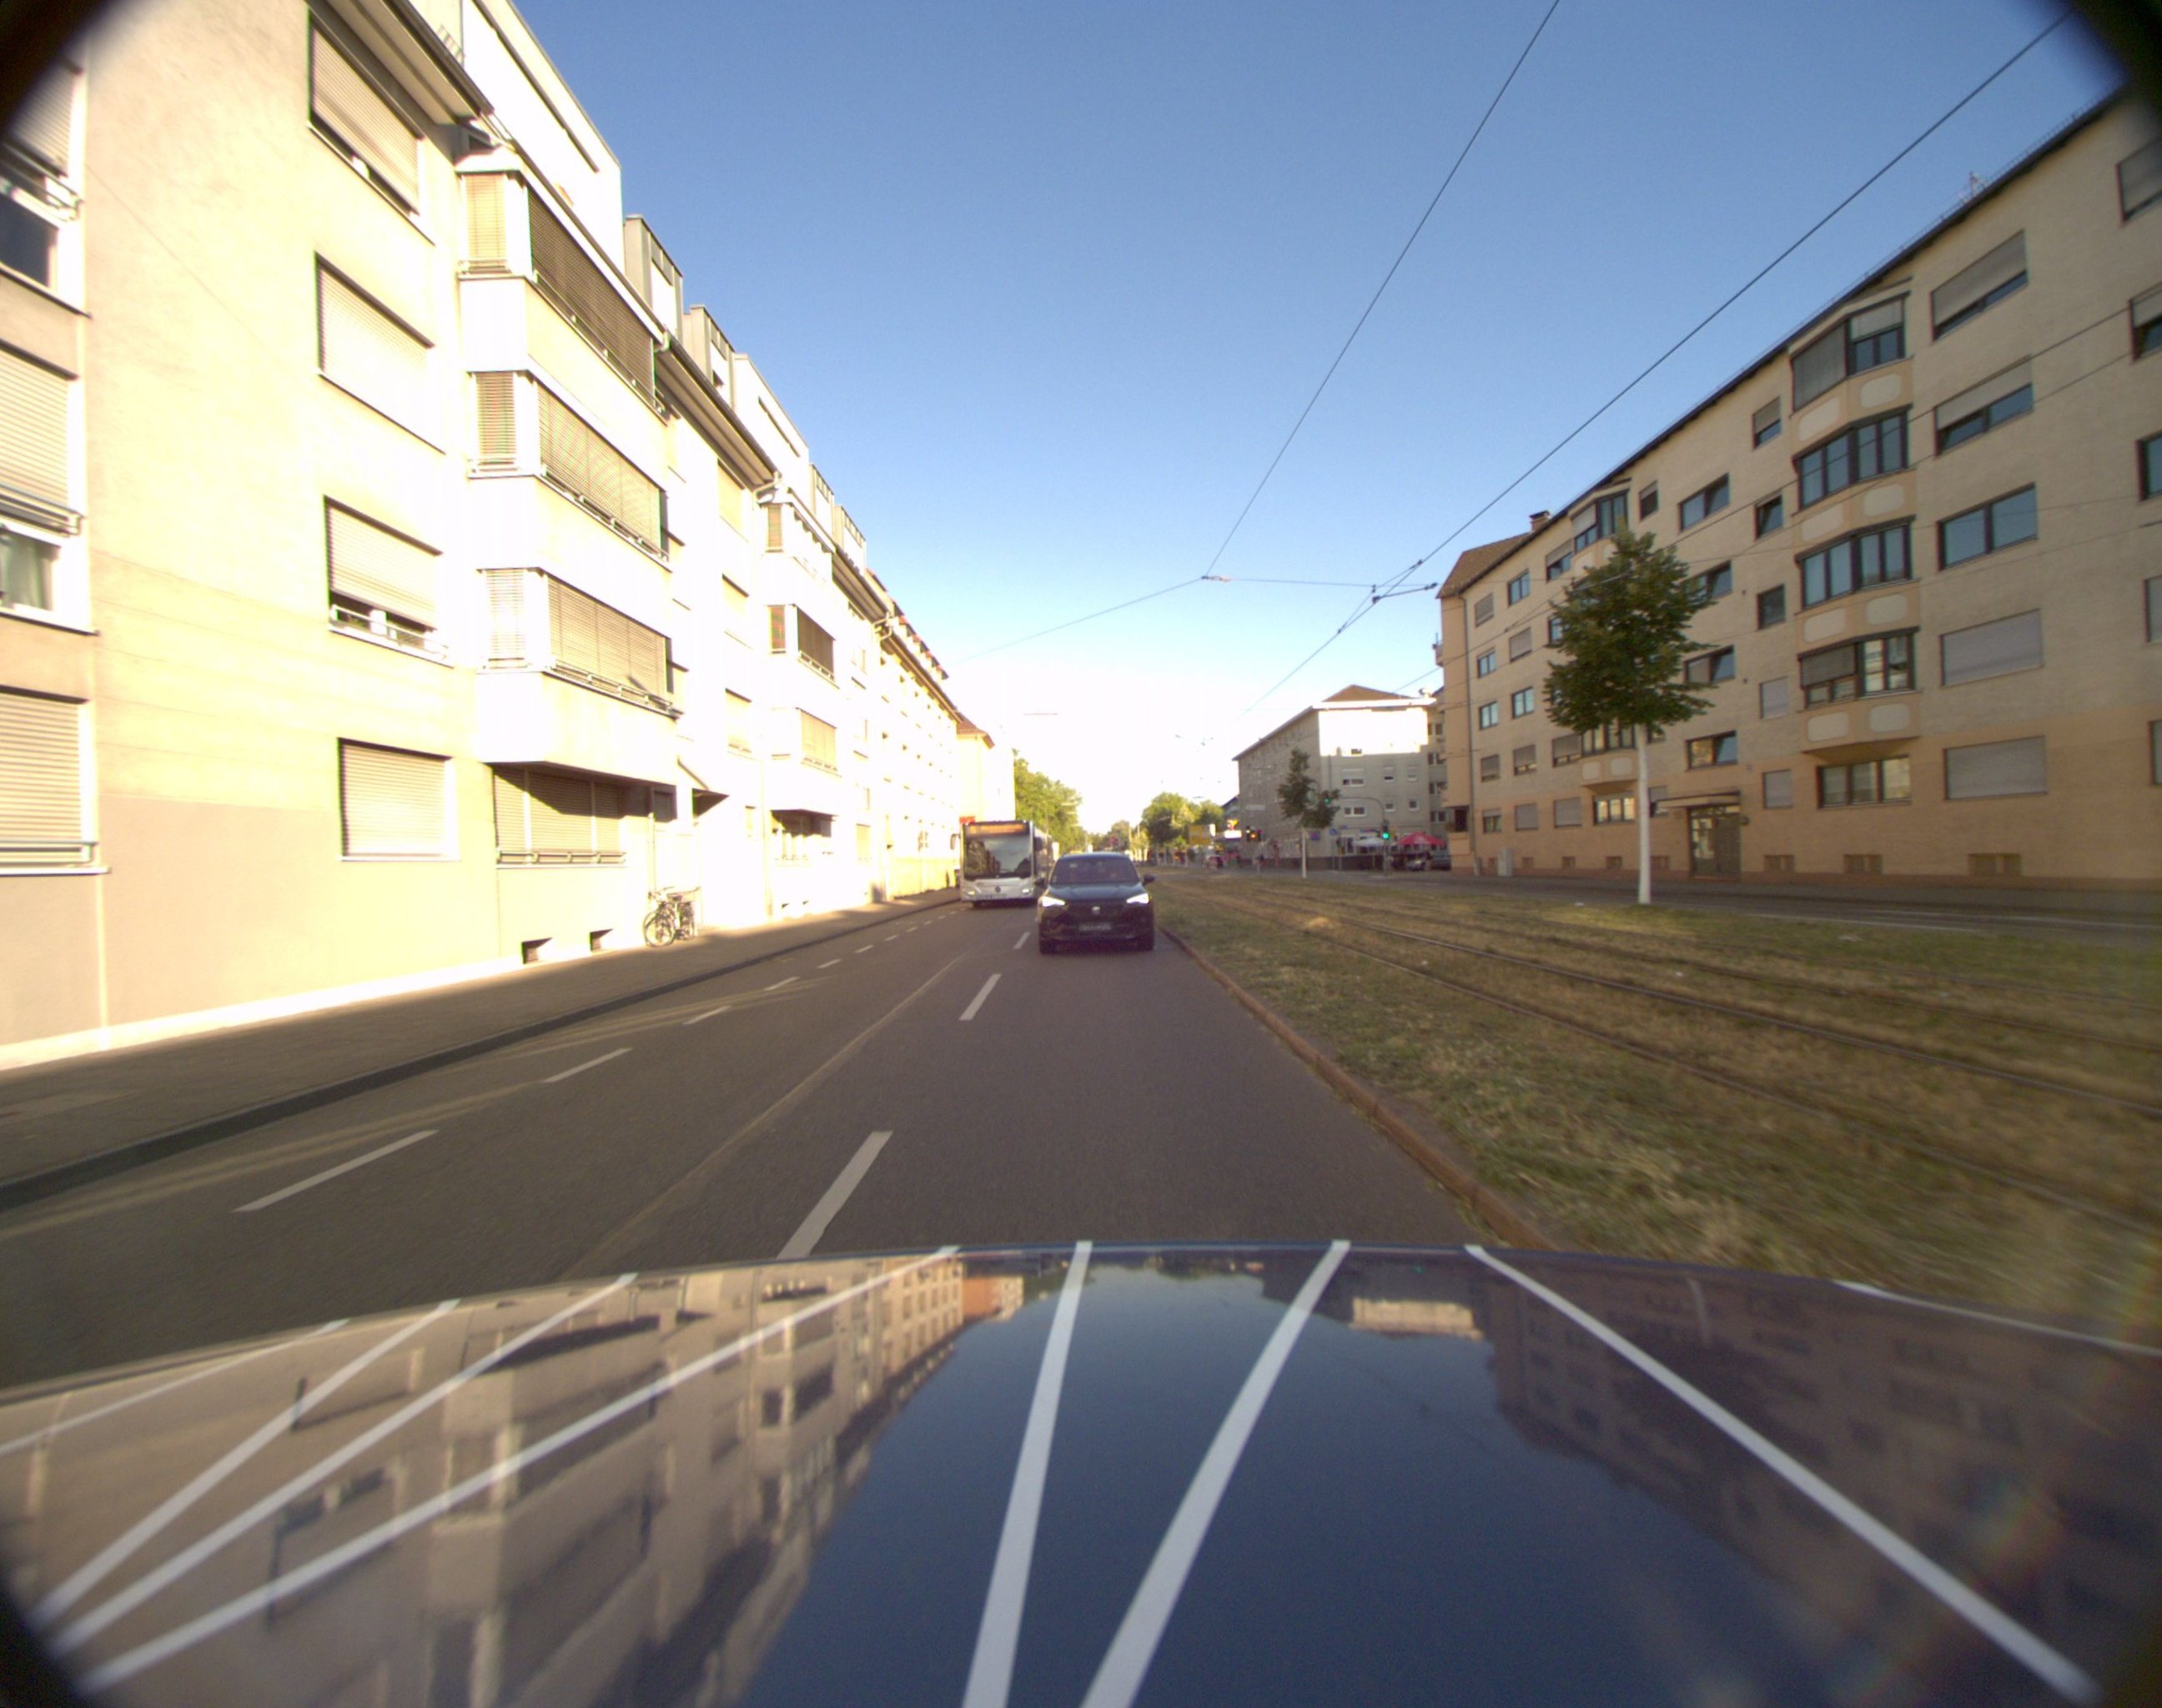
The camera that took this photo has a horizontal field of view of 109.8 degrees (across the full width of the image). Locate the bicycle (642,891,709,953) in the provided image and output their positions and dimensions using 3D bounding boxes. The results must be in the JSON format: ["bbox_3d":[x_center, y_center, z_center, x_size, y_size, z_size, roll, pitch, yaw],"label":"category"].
[{"bbox_3d":[-7.714,1.270,14.533,0.360,1.026,1.730,0,0,0],"label":"bicycle"}]

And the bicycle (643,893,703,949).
[{"bbox_3d":[-8.075,1.300,15.095,0.279,0.965,1.730,0,0,0],"label":"bicycle"}]

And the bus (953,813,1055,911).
[{"bbox_3d":[-2.670,0.265,29.973,2.731,3.059,10.600,-3,0,0],"label":"bus"}]

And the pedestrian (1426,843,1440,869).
[{"bbox_3d":[23.956,0.121,51.708,0.634,1.760,0.825,-2,1,15],"label":"pedestrian"}]

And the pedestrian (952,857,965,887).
[{"bbox_3d":[-7.228,1.052,44.765,0.648,1.721,0.558,0,0,0],"label":"pedestrian"}]

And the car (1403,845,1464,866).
[{"bbox_3d":[28.648,0.095,61.828,3.998,1.499,1.999,-3,0,-3],"label":"car"}]

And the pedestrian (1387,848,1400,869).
[{"bbox_3d":[22.304,0.296,54.206,0.624,1.481,0.582,-3,1,0],"label":"pedestrian"}]

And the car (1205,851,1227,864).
[{"bbox_3d":[17.272,0.464,97.352,1.922,1.581,4.469,-2,0,0],"label":"car"}]

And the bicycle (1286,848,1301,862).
[{"bbox_3d":[22.079,0.124,78.878,0.579,1.370,3.236,-2,0,0],"label":"bicycle"}]

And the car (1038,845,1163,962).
[{"bbox_3d":[0.371,0.717,13.425,1.788,1.615,4.216,-2,1,2],"label":"car"}]

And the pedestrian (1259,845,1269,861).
[{"bbox_3d":[19.941,-0.114,82.776,0.742,1.731,1.226,-3,0,0],"label":"pedestrian"}]

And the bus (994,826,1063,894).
[{"bbox_3d":[-2.582,0.275,40.586,2.712,3.059,10.600,-3,0,0],"label":"bus"}]
